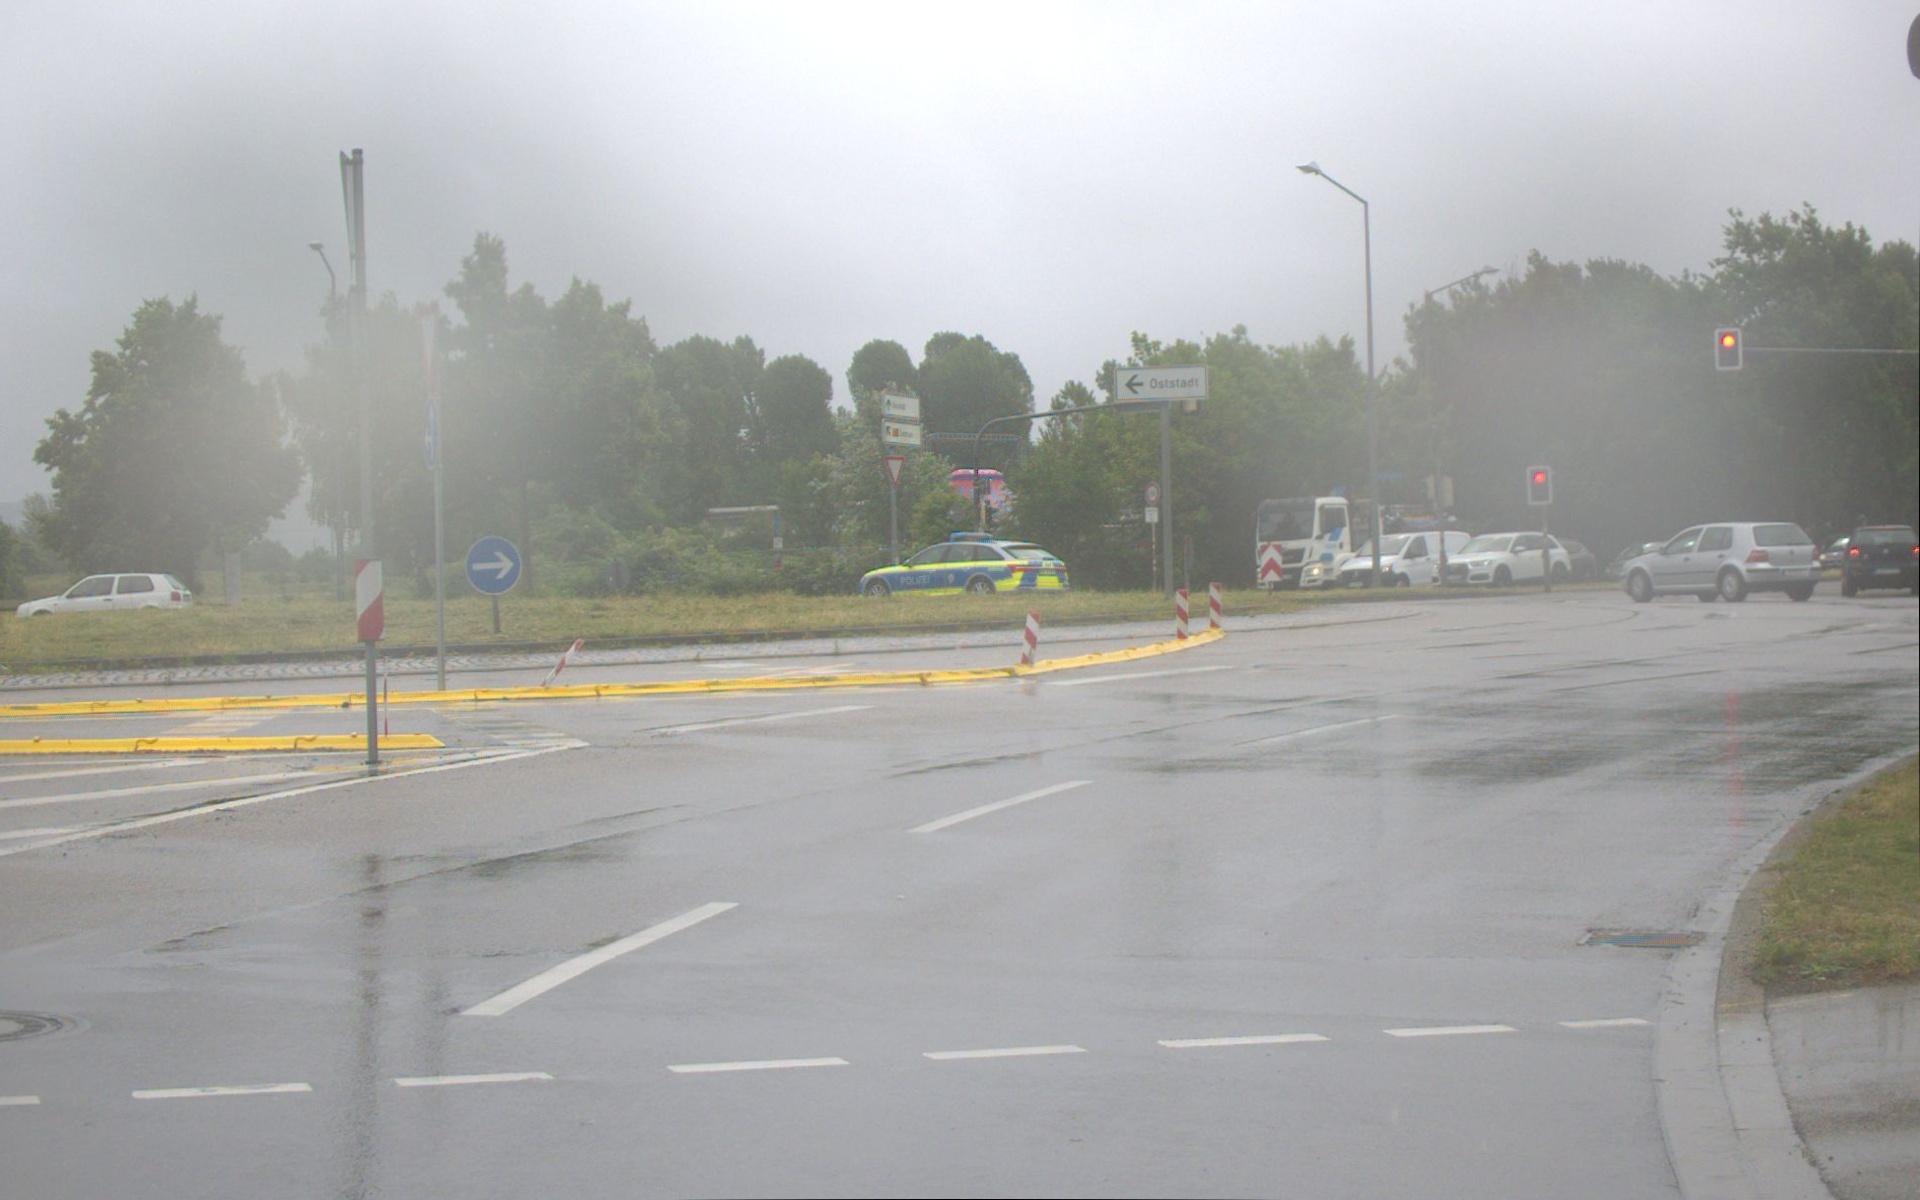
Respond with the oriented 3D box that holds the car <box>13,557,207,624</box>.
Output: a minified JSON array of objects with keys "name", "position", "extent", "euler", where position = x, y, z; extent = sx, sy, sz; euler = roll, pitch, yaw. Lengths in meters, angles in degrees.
[{"name":"car","position":[-19.434,-0.224,78.707],"extent":[3.975,1.449,1.623],"euler":[-1,1,3]}]

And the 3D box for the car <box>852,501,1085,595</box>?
[{"name":"car","position":[0.142,-1.051,70.695],"extent":[1.995,1.845,4.773],"euler":[-2,1,-45]}]

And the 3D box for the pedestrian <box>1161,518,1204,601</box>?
[{"name":"pedestrian","position":[3.516,-0.641,54.347],"extent":[0.453,1.300,0.485],"euler":[-1,1,38]}]

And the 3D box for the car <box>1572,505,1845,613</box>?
[{"name":"car","position":[13.466,-0.734,62.093],"extent":[1.993,1.845,4.776],"euler":[1,0,-33]}]

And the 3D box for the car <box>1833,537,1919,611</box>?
[{"name":"car","position":[18.981,-0.558,71.079],"extent":[1.619,1.449,3.986],"euler":[-1,1,12]}]

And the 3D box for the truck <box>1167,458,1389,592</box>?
[{"name":"truck","position":[6.969,-1.555,74.184],"extent":[2.464,2.677,8.049],"euler":[1,0,23]}]

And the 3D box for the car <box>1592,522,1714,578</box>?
[{"name":"car","position":[21.877,-1.589,108.430],"extent":[1.800,1.656,4.399],"euler":[-1,1,41]}]

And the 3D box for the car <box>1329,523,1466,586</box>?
[{"name":"car","position":[12.254,-1.268,96.201],"extent":[1.800,1.656,4.124],"euler":[1,0,41]}]

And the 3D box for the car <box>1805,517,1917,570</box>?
[{"name":"car","position":[29.575,-1.873,112.772],"extent":[1.800,1.656,4.399],"euler":[0,1,41]}]

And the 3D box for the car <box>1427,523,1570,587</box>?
[{"name":"car","position":[14.844,-1.225,94.603],"extent":[1.800,1.656,4.399],"euler":[1,0,41]}]
